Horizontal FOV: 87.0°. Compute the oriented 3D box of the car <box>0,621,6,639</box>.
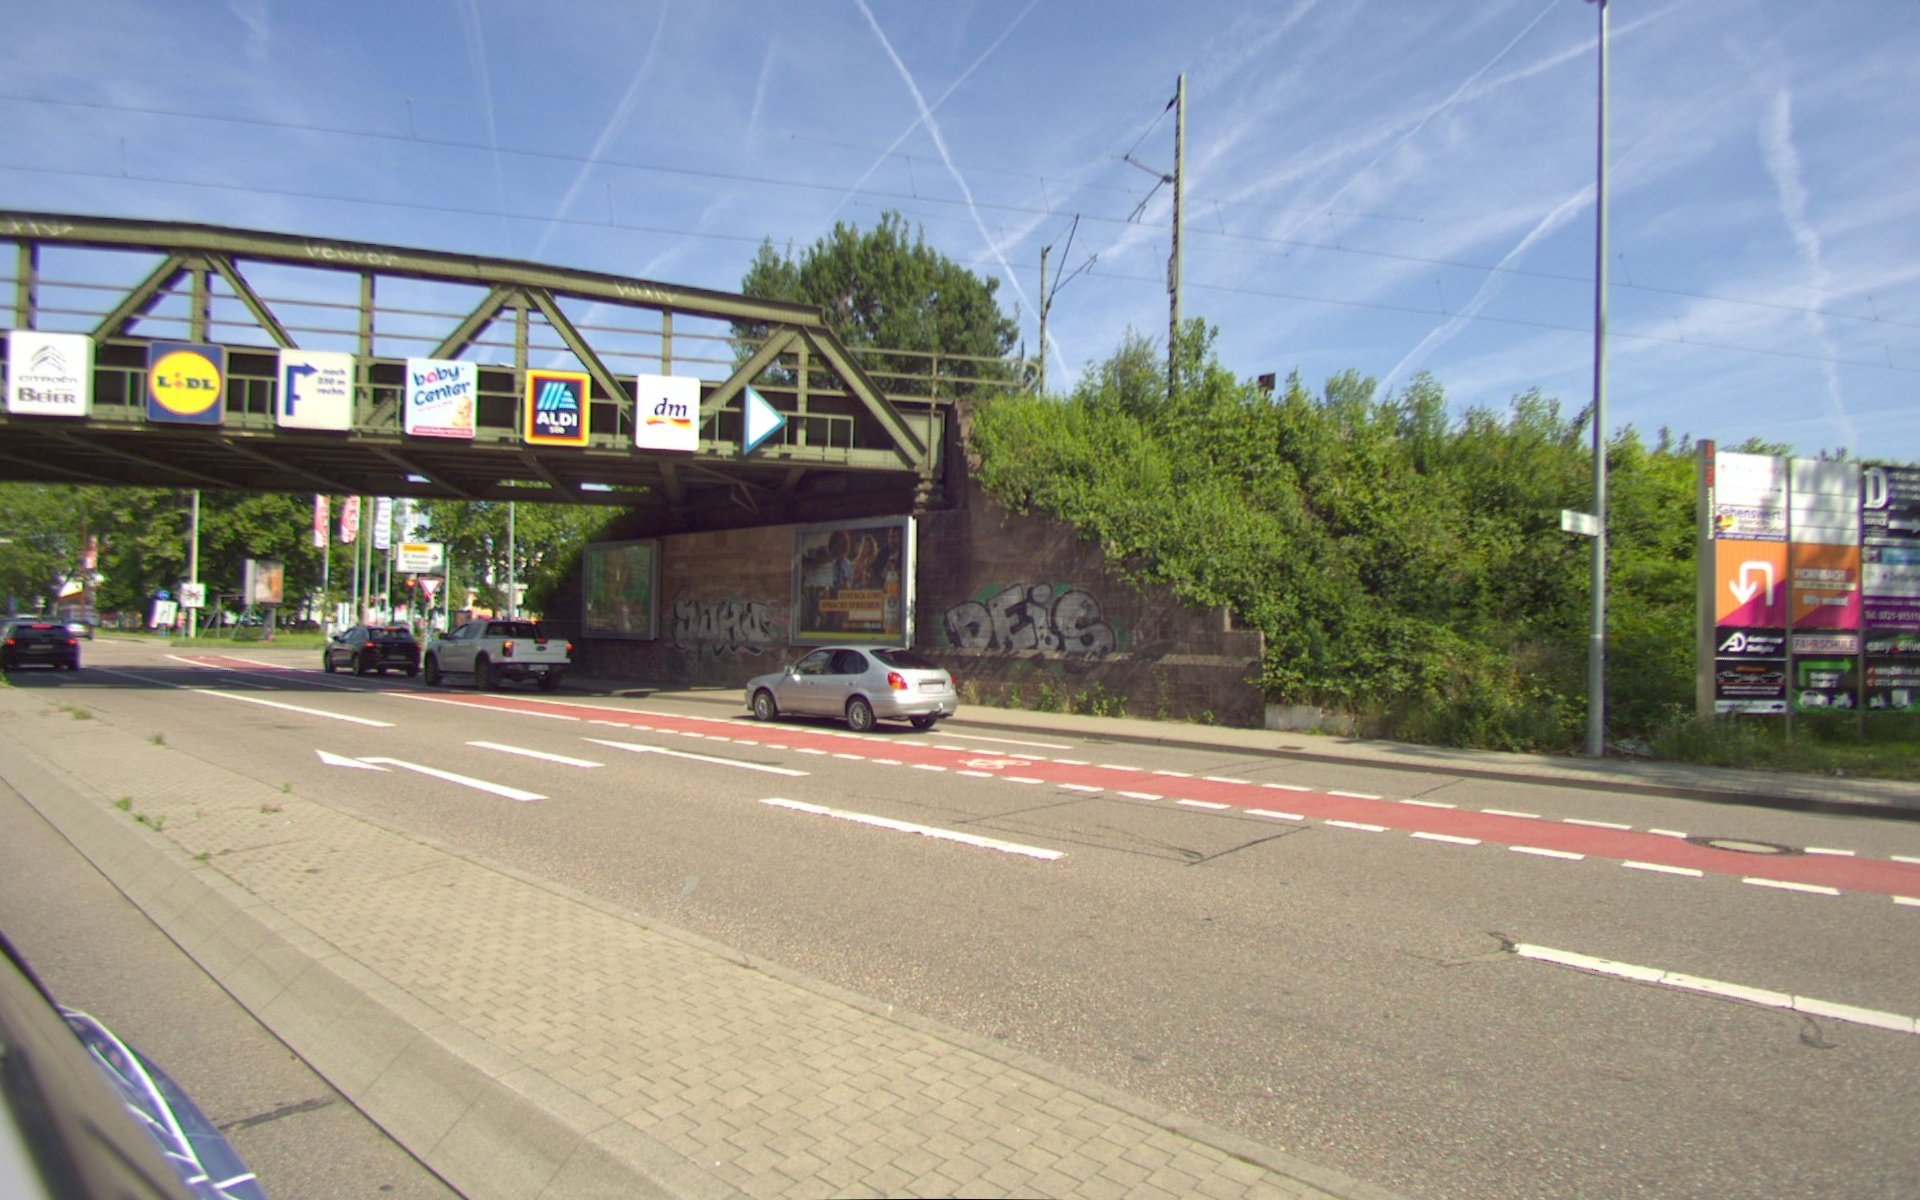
[{"bbox_3d":[-97.987,3.038,102.158,3.820,1.734,1.904,0,0,39],"label":"car"}]

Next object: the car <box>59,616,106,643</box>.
[{"bbox_3d":[-59.689,1.979,68.846,3.632,1.734,1.802,0,0,39],"label":"car"}]

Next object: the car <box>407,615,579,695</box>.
[{"bbox_3d":[-12.488,1.414,26.894,5.447,1.875,1.973,0,-4,41],"label":"car"}]

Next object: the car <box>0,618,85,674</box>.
[{"bbox_3d":[-26.834,1.296,29.221,4.118,1.458,1.762,0,-2,41],"label":"car"}]

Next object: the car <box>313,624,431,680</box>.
[{"bbox_3d":[-18.654,1.606,32.024,4.384,1.608,1.853,0,-2,41],"label":"car"}]

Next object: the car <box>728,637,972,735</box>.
[{"bbox_3d":[-1.973,1.381,17.273,4.316,1.398,1.618,0,-3,41],"label":"car"}]

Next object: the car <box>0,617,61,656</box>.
[{"bbox_3d":[-40.524,1.489,41.964,1.683,1.585,4.914,1,-2,7],"label":"car"}]
